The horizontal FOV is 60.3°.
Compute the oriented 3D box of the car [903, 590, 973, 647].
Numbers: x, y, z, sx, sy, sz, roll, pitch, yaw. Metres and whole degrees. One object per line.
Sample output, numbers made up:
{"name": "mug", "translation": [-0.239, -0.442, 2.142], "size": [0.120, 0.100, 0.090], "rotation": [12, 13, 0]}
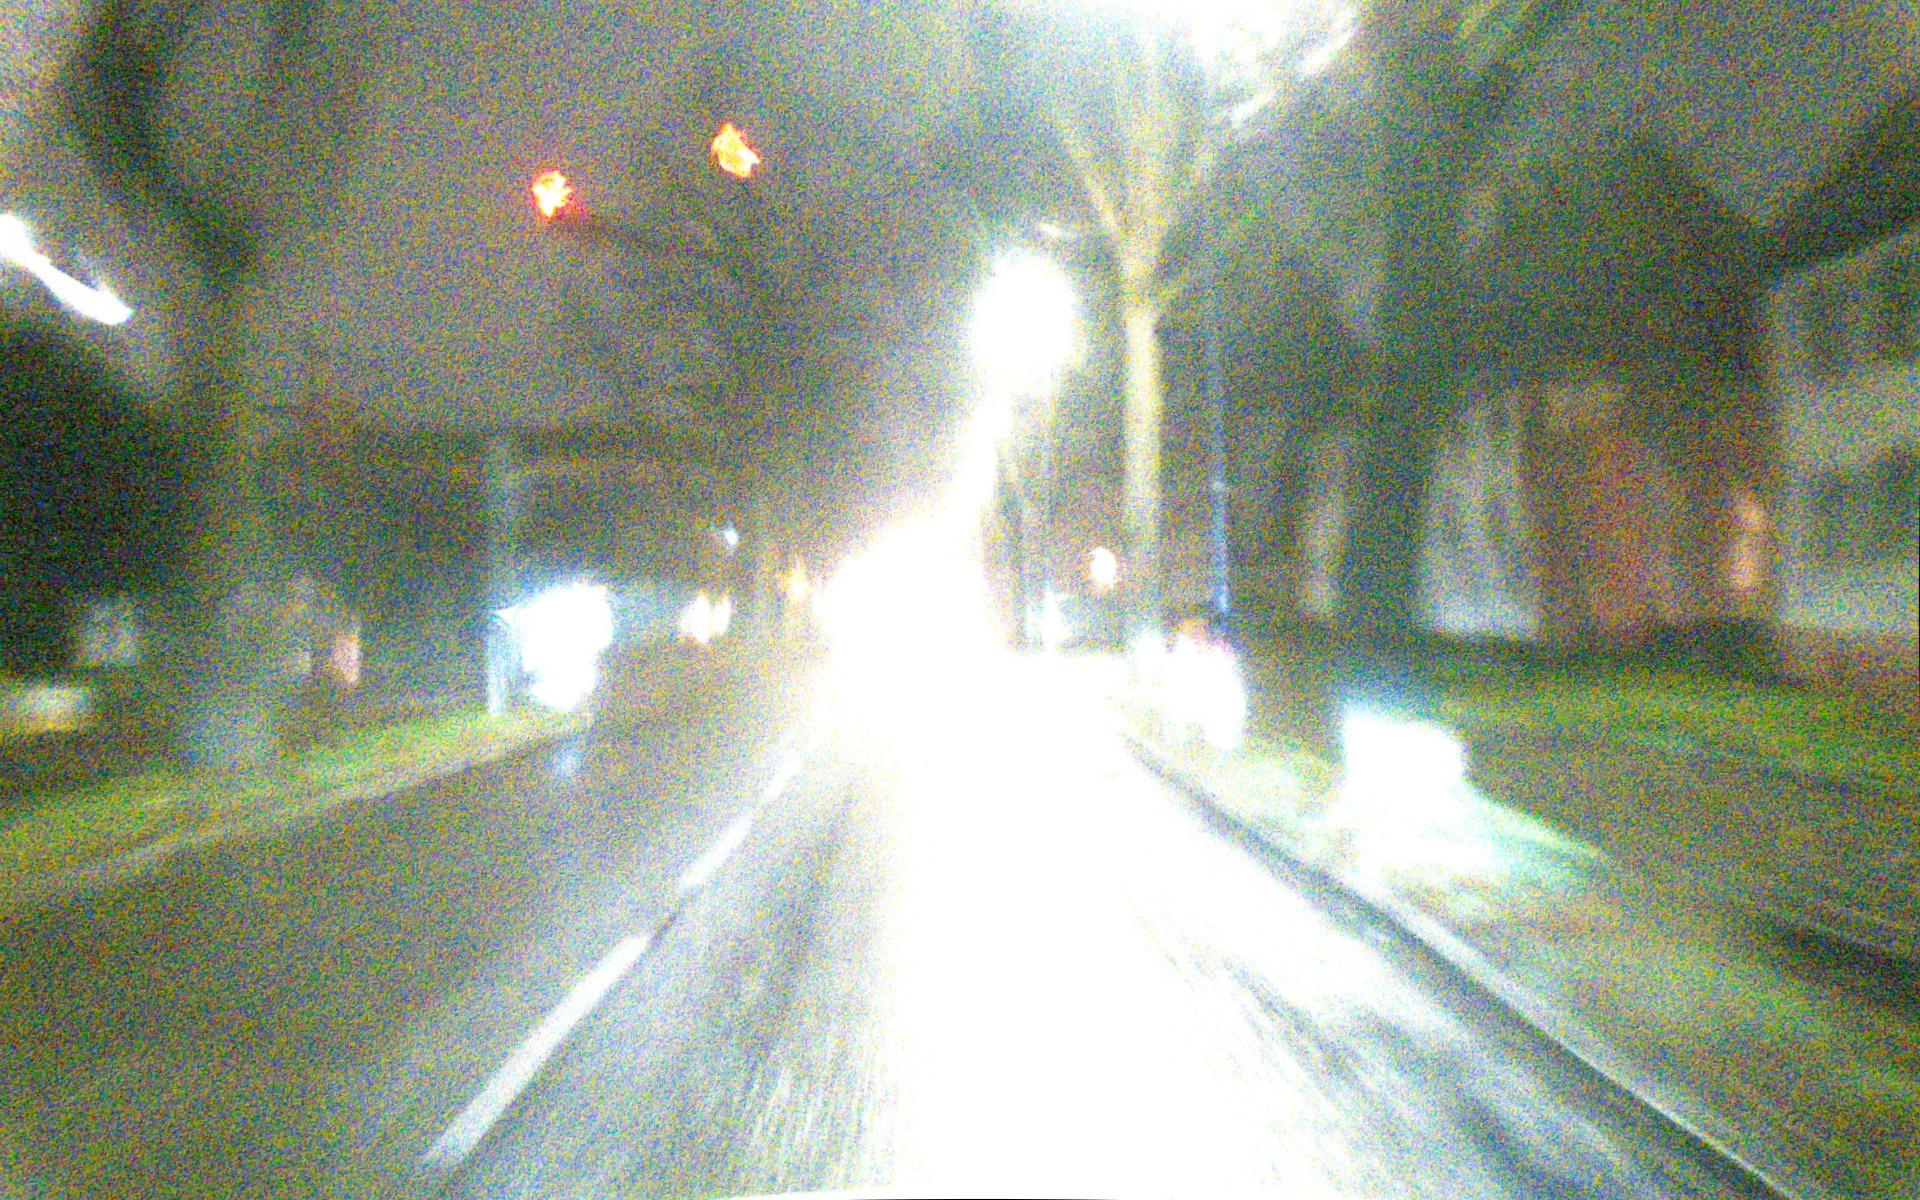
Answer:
{"name": "car", "translation": [-0.739, 0.555, 51.888], "size": [1.954, 1.713, 3.996], "rotation": [0, 0, -4]}

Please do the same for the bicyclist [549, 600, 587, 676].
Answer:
{"name": "bicyclist", "translation": [-8.738, 0.842, 36.905], "size": [0.623, 1.622, 0.960], "rotation": [1, 2, -2]}

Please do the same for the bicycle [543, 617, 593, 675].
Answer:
{"name": "bicycle", "translation": [-8.726, 1.007, 36.893], "size": [0.617, 1.181, 2.313], "rotation": [1, 1, -2]}
